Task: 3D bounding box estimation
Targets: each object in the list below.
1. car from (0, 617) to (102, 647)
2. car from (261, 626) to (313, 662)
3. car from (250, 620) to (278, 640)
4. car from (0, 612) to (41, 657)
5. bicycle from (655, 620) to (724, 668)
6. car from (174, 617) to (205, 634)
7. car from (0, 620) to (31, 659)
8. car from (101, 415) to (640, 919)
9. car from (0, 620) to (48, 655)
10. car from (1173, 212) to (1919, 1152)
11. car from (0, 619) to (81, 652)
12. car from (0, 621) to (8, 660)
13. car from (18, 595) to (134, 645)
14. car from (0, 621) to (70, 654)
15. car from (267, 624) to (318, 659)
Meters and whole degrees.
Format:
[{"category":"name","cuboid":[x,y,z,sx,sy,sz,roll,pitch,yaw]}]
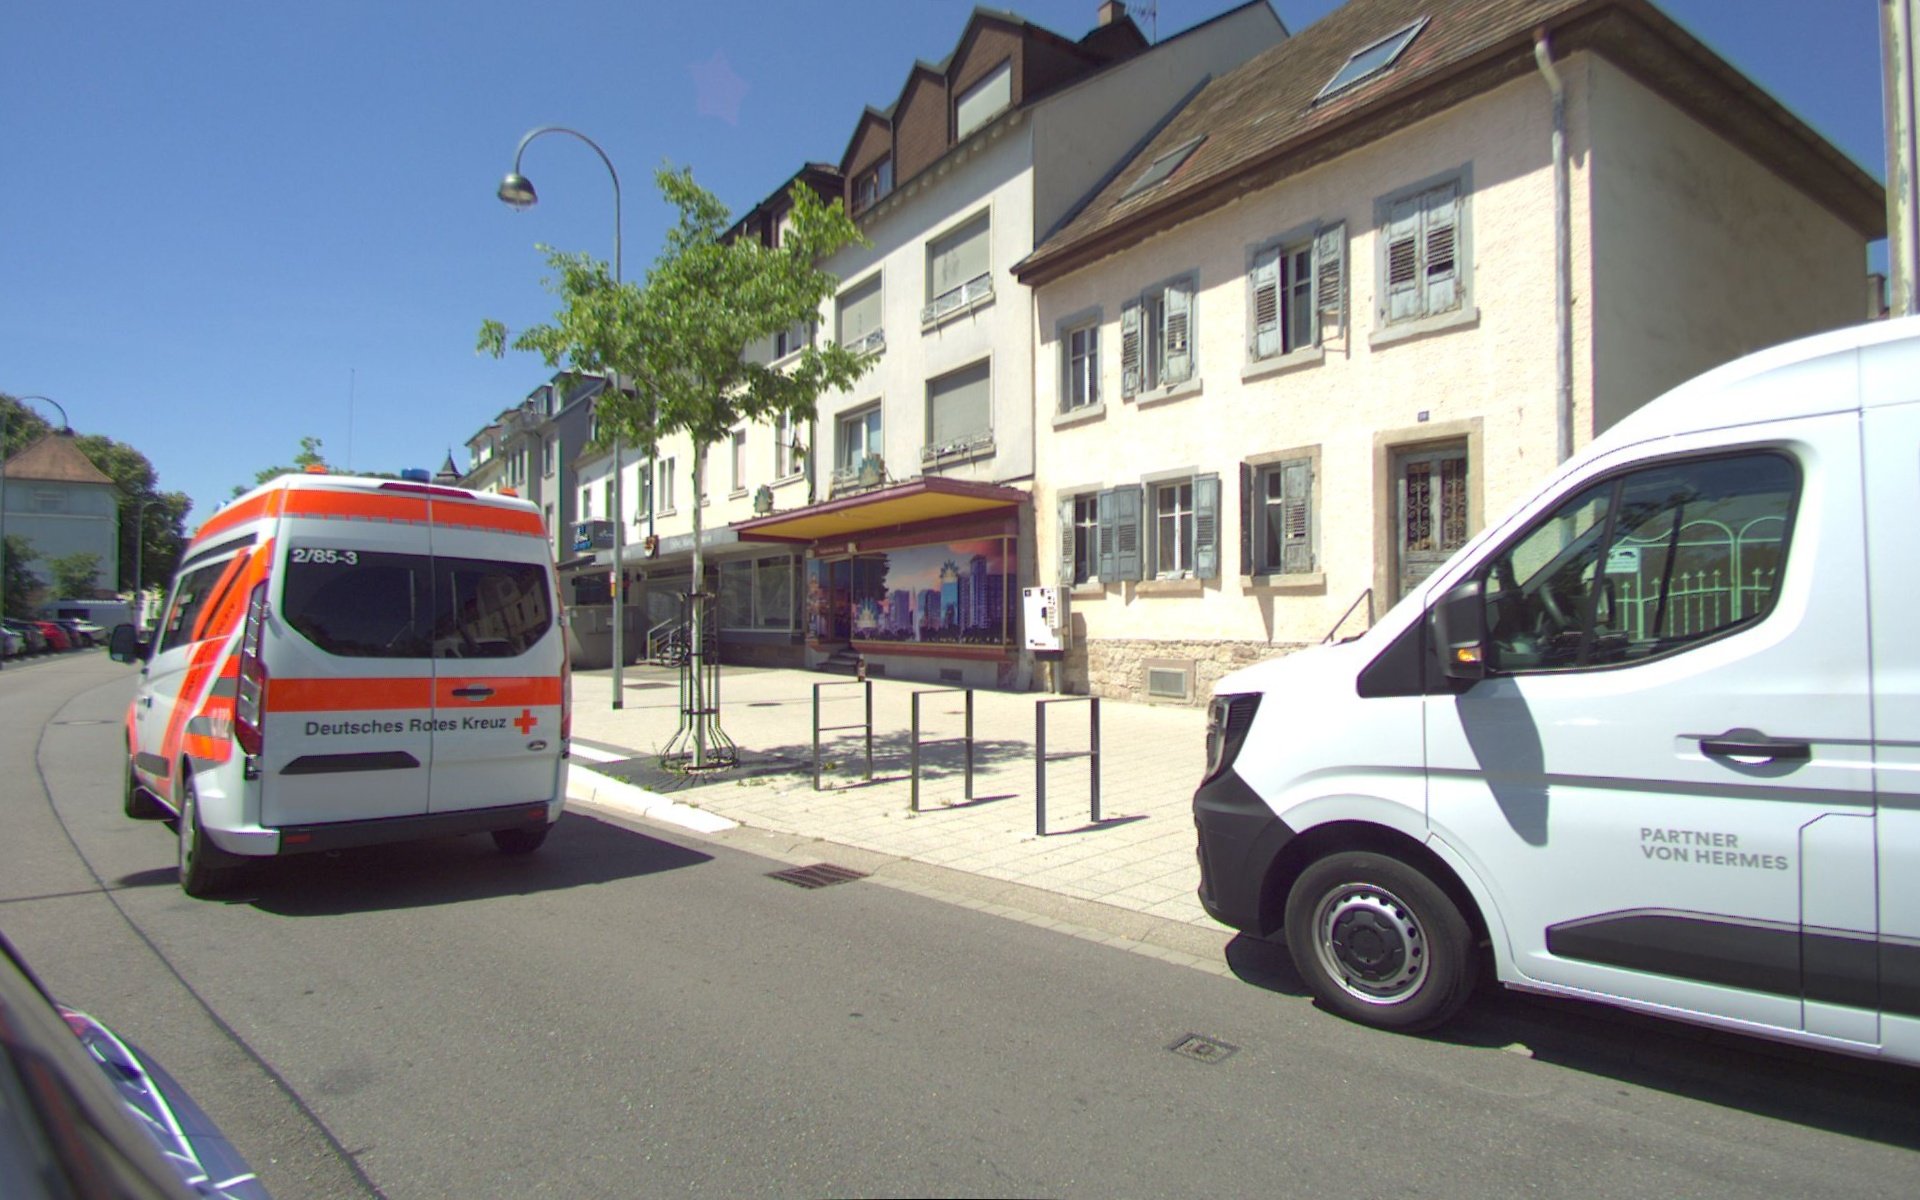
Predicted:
[{"category":"car","cuboid":[-48.868,1.744,54.150,4.311,1.541,1.724,2,-3,-34]},{"category":"car","cuboid":[-28.778,1.864,43.256,1.730,1.456,4.460,2,-3,-35]},{"category":"car","cuboid":[-56.546,2.430,82.248,1.595,1.465,3.872,3,-3,-38]},{"category":"car","cuboid":[-40.426,1.401,41.516,3.757,1.800,1.845,2,-2,-35]},{"category":"bicycle","cuboid":[-7.652,1.227,28.672,1.741,1.243,0.618,-2,0,-34]},{"category":"car","cuboid":[-72.851,2.428,95.666,4.088,1.495,1.662,-2,-6,45]},{"category":"car","cuboid":[-38.704,1.519,39.208,3.757,1.493,1.782,2,-2,-35]},{"category":"car","cuboid":[-4.605,0.395,7.419,2.131,2.380,5.251,3,-3,-44]},{"category":"car","cuboid":[-42.200,1.610,43.968,3.559,1.473,1.621,3,-2,-35]},{"category":"car","cuboid":[3.637,0.201,3.139,5.501,2.517,2.070,-1,0,42]},{"category":"car","cuboid":[-46.059,1.727,49.603,4.290,1.563,1.656,2,-2,-37]},{"category":"car","cuboid":[-37.939,1.470,37.473,3.606,1.456,1.539,3,-2,-32]},{"category":"car","cuboid":[-51.064,1.188,58.592,4.789,2.757,1.856,2,-2,-33]},{"category":"car","cuboid":[-43.229,1.721,46.141,3.757,1.473,1.656,2,-2,-35]},{"category":"car","cuboid":[-31.409,1.918,47.703,1.657,1.495,3.780,-3,0,-28]}]
